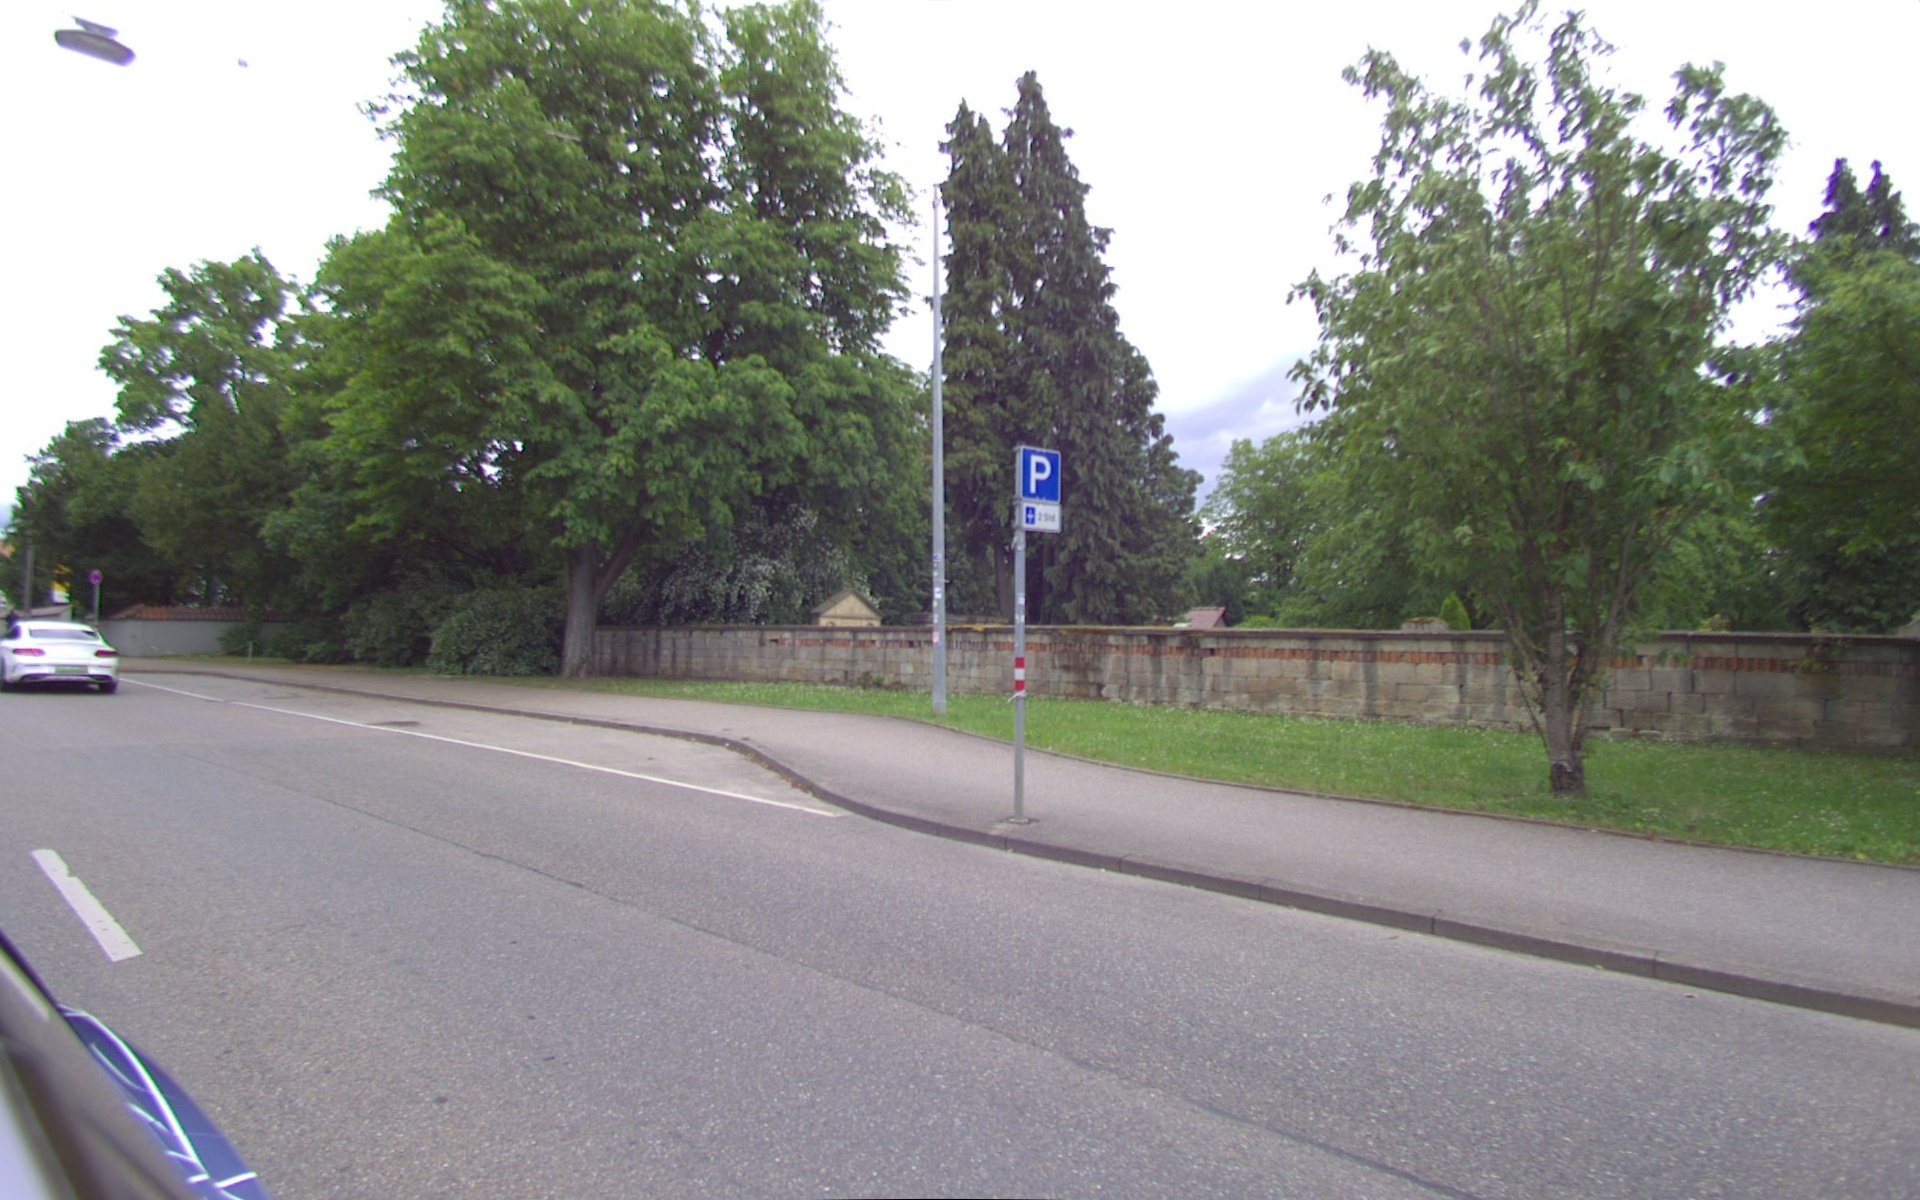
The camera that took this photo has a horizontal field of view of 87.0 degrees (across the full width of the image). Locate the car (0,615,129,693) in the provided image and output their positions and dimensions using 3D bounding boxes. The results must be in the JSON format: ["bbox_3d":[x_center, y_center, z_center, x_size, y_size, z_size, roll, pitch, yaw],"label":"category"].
[{"bbox_3d":[-18.972,1.076,21.047,4.827,1.430,1.795,0,-5,42],"label":"car"}]

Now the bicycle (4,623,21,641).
[{"bbox_3d":[-53.013,1.787,56.619,1.748,0.971,0.490,0,1,42],"label":"bicycle"}]

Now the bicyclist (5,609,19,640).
[{"bbox_3d":[-52.961,1.341,56.557,0.588,1.696,0.482,-1,1,42],"label":"bicyclist"}]
